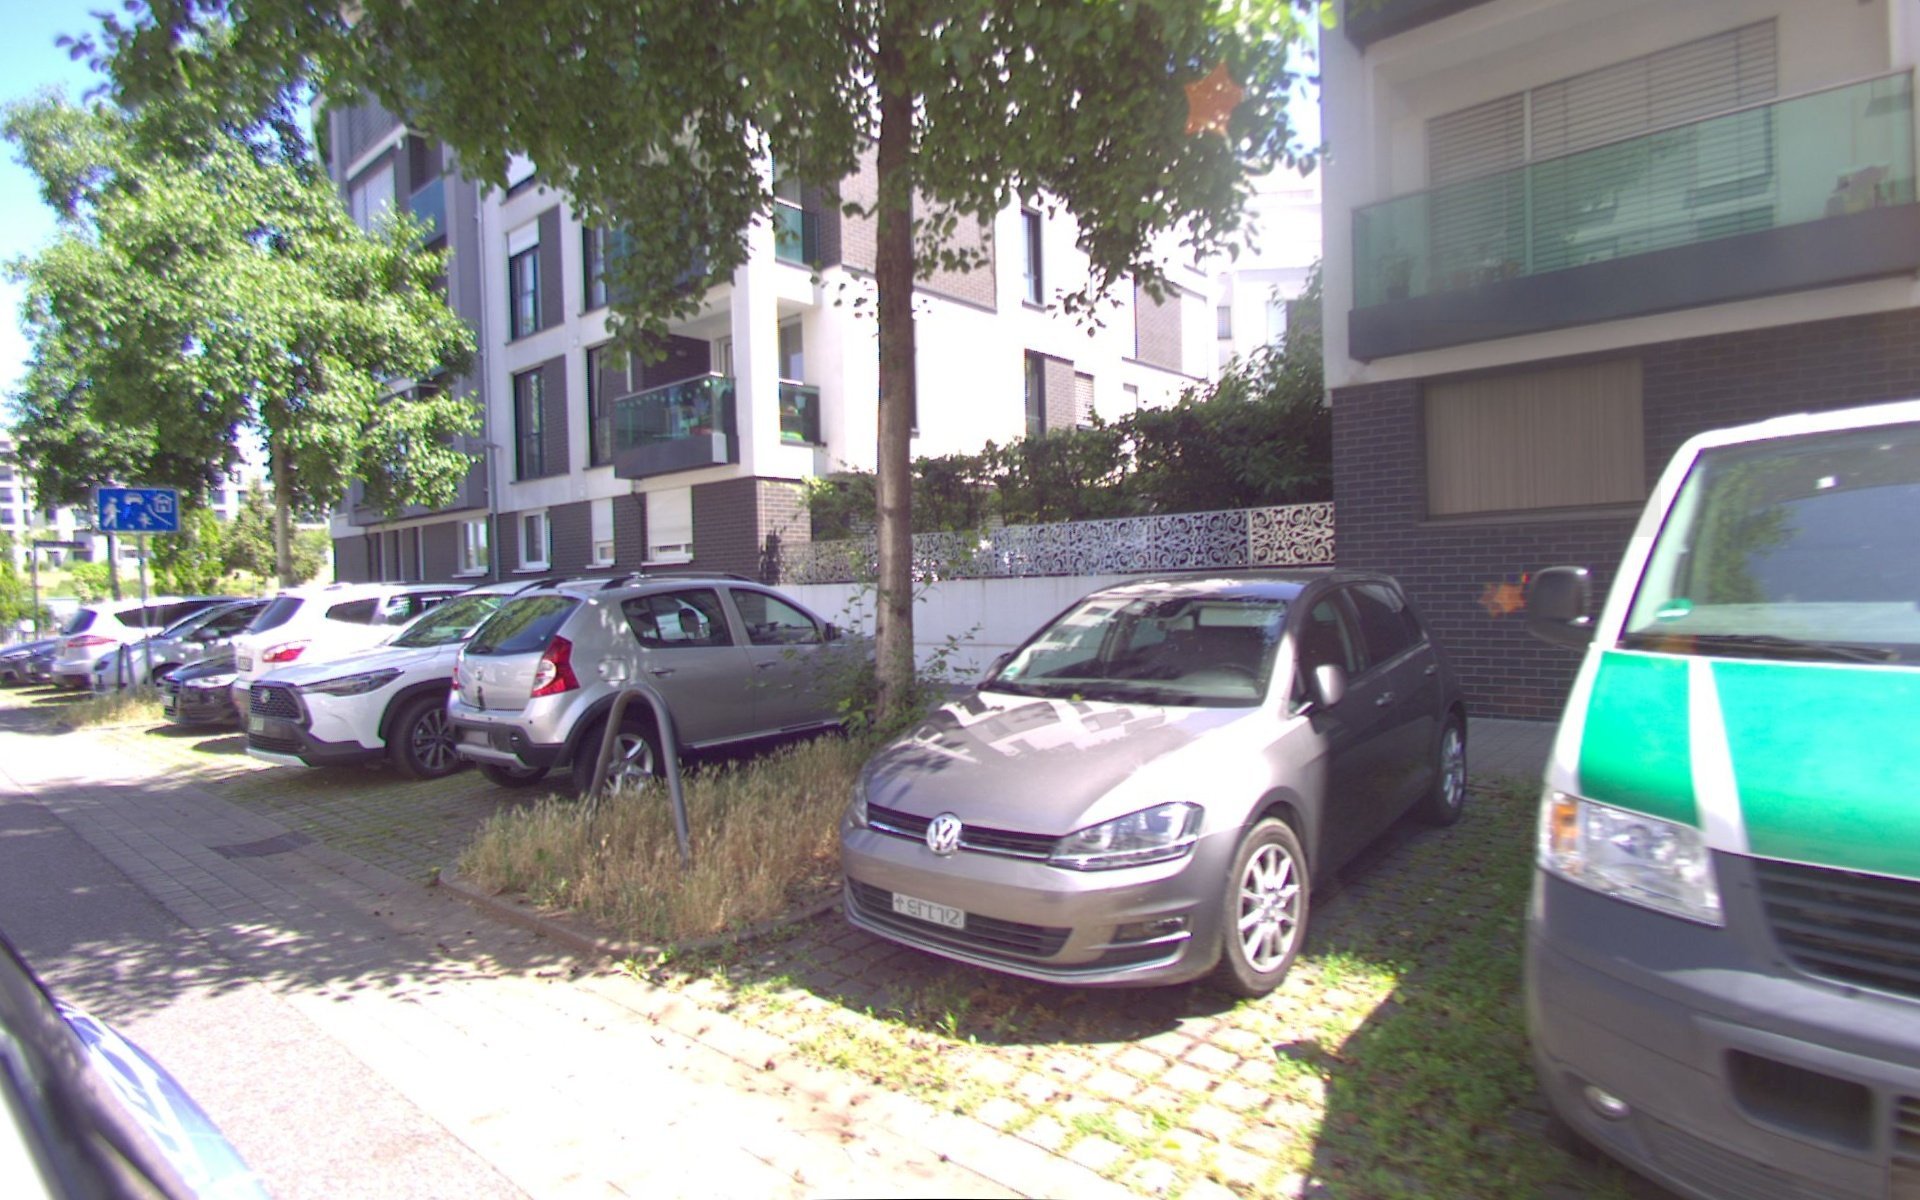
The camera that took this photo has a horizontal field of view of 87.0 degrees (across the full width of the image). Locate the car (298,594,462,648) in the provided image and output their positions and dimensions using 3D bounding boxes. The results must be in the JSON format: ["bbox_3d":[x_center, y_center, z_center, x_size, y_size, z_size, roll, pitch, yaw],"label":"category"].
[{"bbox_3d":[-19.169,0.661,33.633,1.775,1.531,4.345,-3,0,35],"label":"car"}]

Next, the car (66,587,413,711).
[{"bbox_3d":[-11.557,0.688,16.501,1.820,1.542,4.212,-2,2,38],"label":"car"}]

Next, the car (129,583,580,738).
[{"bbox_3d":[-7.818,0.649,13.521,1.828,1.467,4.801,-1,3,41],"label":"car"}]

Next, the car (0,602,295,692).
[{"bbox_3d":[-17.428,0.906,21.594,1.926,1.496,5.050,0,2,38],"label":"car"}]

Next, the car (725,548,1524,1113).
[{"bbox_3d":[1.240,0.566,5.026,1.998,1.501,4.377,-1,1,39],"label":"car"}]

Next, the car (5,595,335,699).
[{"bbox_3d":[-15.360,0.808,19.950,1.826,1.459,4.773,0,4,38],"label":"car"}]

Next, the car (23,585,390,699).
[{"bbox_3d":[-13.482,0.644,18.433,2.040,1.644,4.980,-2,1,38],"label":"car"}]

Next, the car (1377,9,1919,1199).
[{"bbox_3d":[3.450,0.114,3.249,2.187,2.126,5.284,-1,1,43],"label":"car"}]

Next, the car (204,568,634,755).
[{"bbox_3d":[-6.113,0.552,11.756,1.950,1.641,3.938,-1,3,43],"label":"car"}]

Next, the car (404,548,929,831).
[{"bbox_3d":[-2.183,0.496,8.248,1.851,1.688,3.643,-1,3,40],"label":"car"}]

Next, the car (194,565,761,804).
[{"bbox_3d":[-4.319,0.570,9.807,1.962,1.605,4.519,-1,3,36],"label":"car"}]
